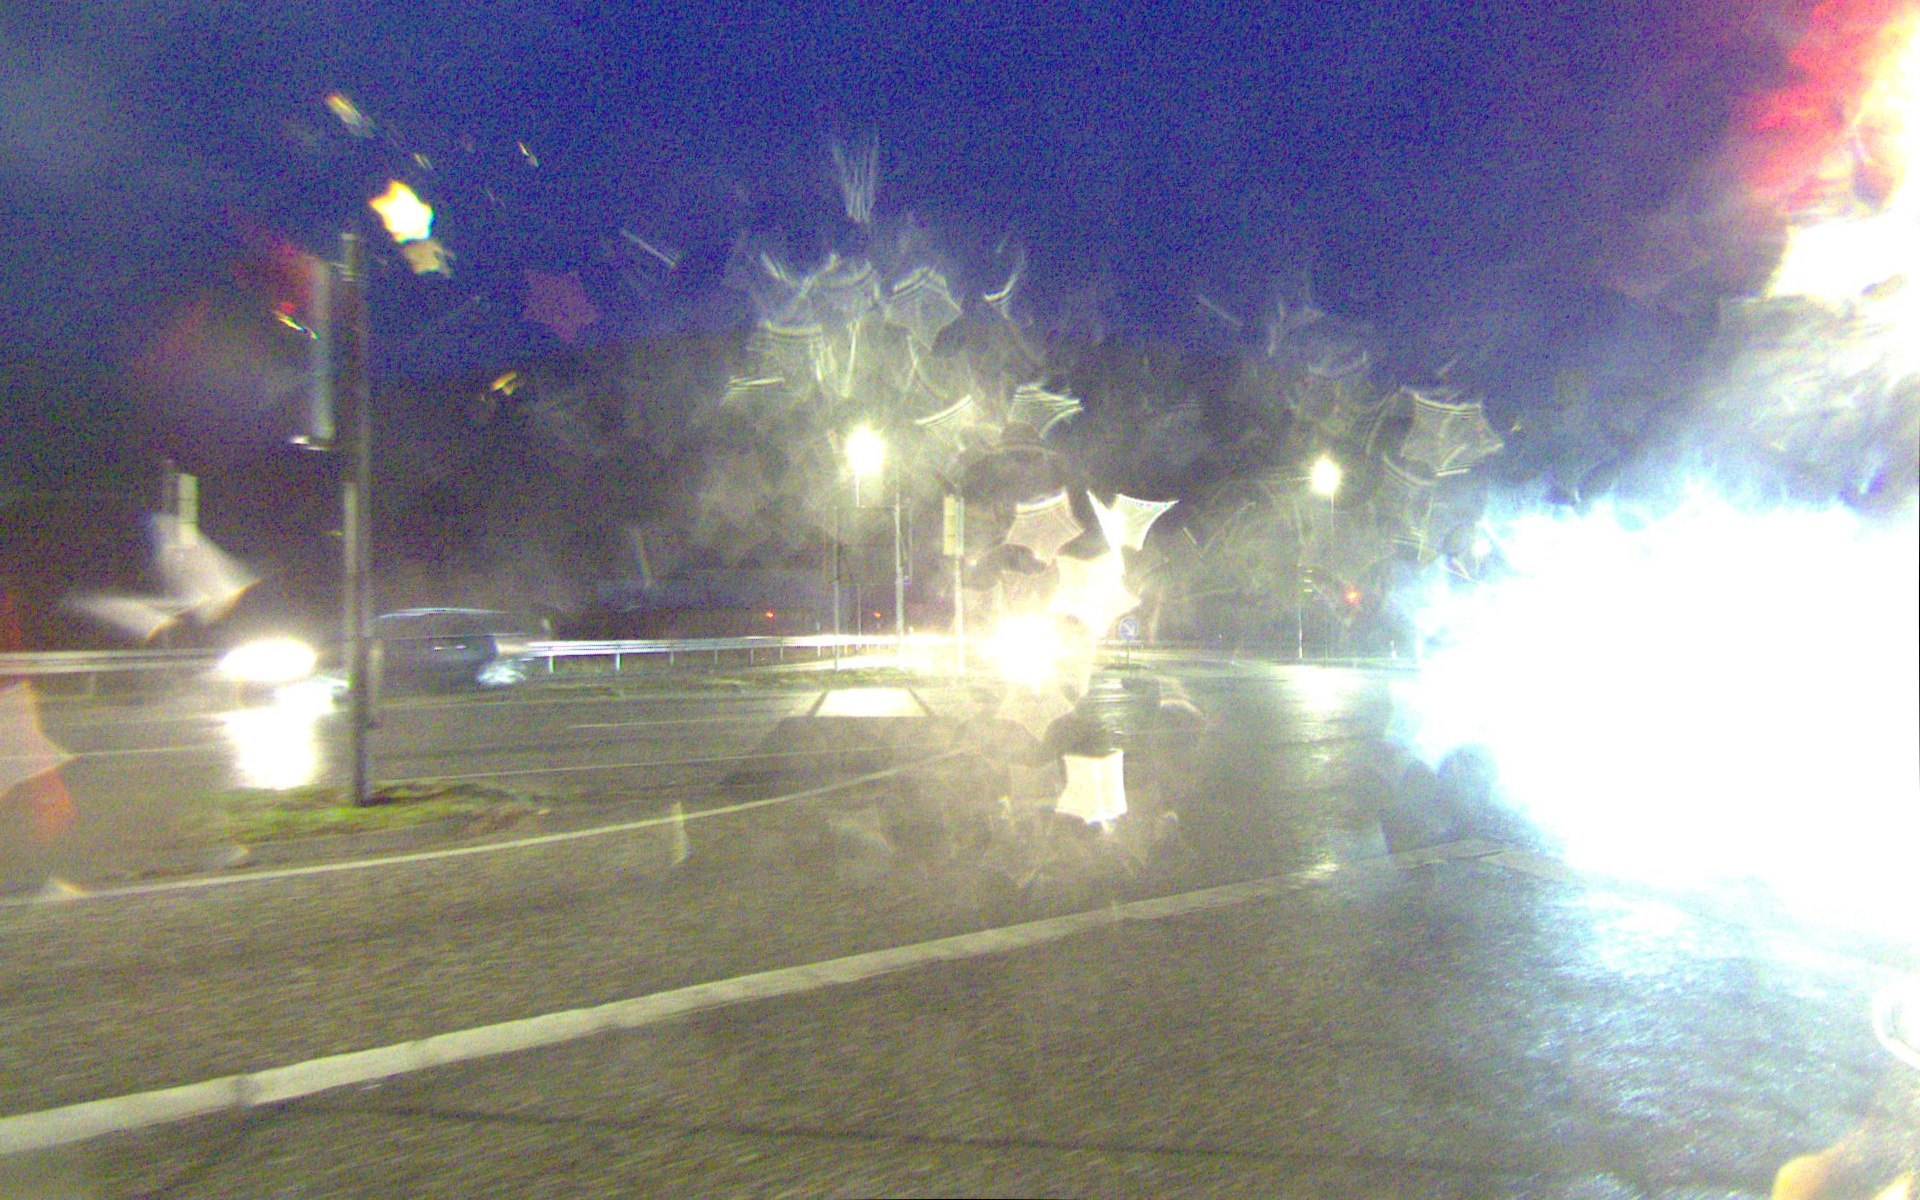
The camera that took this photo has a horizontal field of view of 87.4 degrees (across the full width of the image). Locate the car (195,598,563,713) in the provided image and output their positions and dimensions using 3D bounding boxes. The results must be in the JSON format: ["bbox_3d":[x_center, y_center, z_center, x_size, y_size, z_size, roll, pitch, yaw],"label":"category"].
[{"bbox_3d":[-9.003,0.827,16.108,1.720,1.523,4.885,1,-1,29],"label":"car"}]

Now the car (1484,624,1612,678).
[{"bbox_3d":[21.711,1.842,37.258,3.924,1.856,1.720,0,-1,24],"label":"car"}]

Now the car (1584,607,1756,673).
[{"bbox_3d":[18.504,1.018,26.128,4.855,1.592,1.784,1,-1,-30],"label":"car"}]

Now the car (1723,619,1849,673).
[{"bbox_3d":[24.375,1.354,29.621,3.683,1.473,1.660,2,-1,-29],"label":"car"}]

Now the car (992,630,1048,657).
[{"bbox_3d":[3.578,2.545,59.030,1.629,1.518,4.369,-2,-3,28],"label":"car"}]

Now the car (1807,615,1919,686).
[{"bbox_3d":[22.964,1.209,24.594,4.650,1.592,1.693,1,-1,-26],"label":"car"}]
